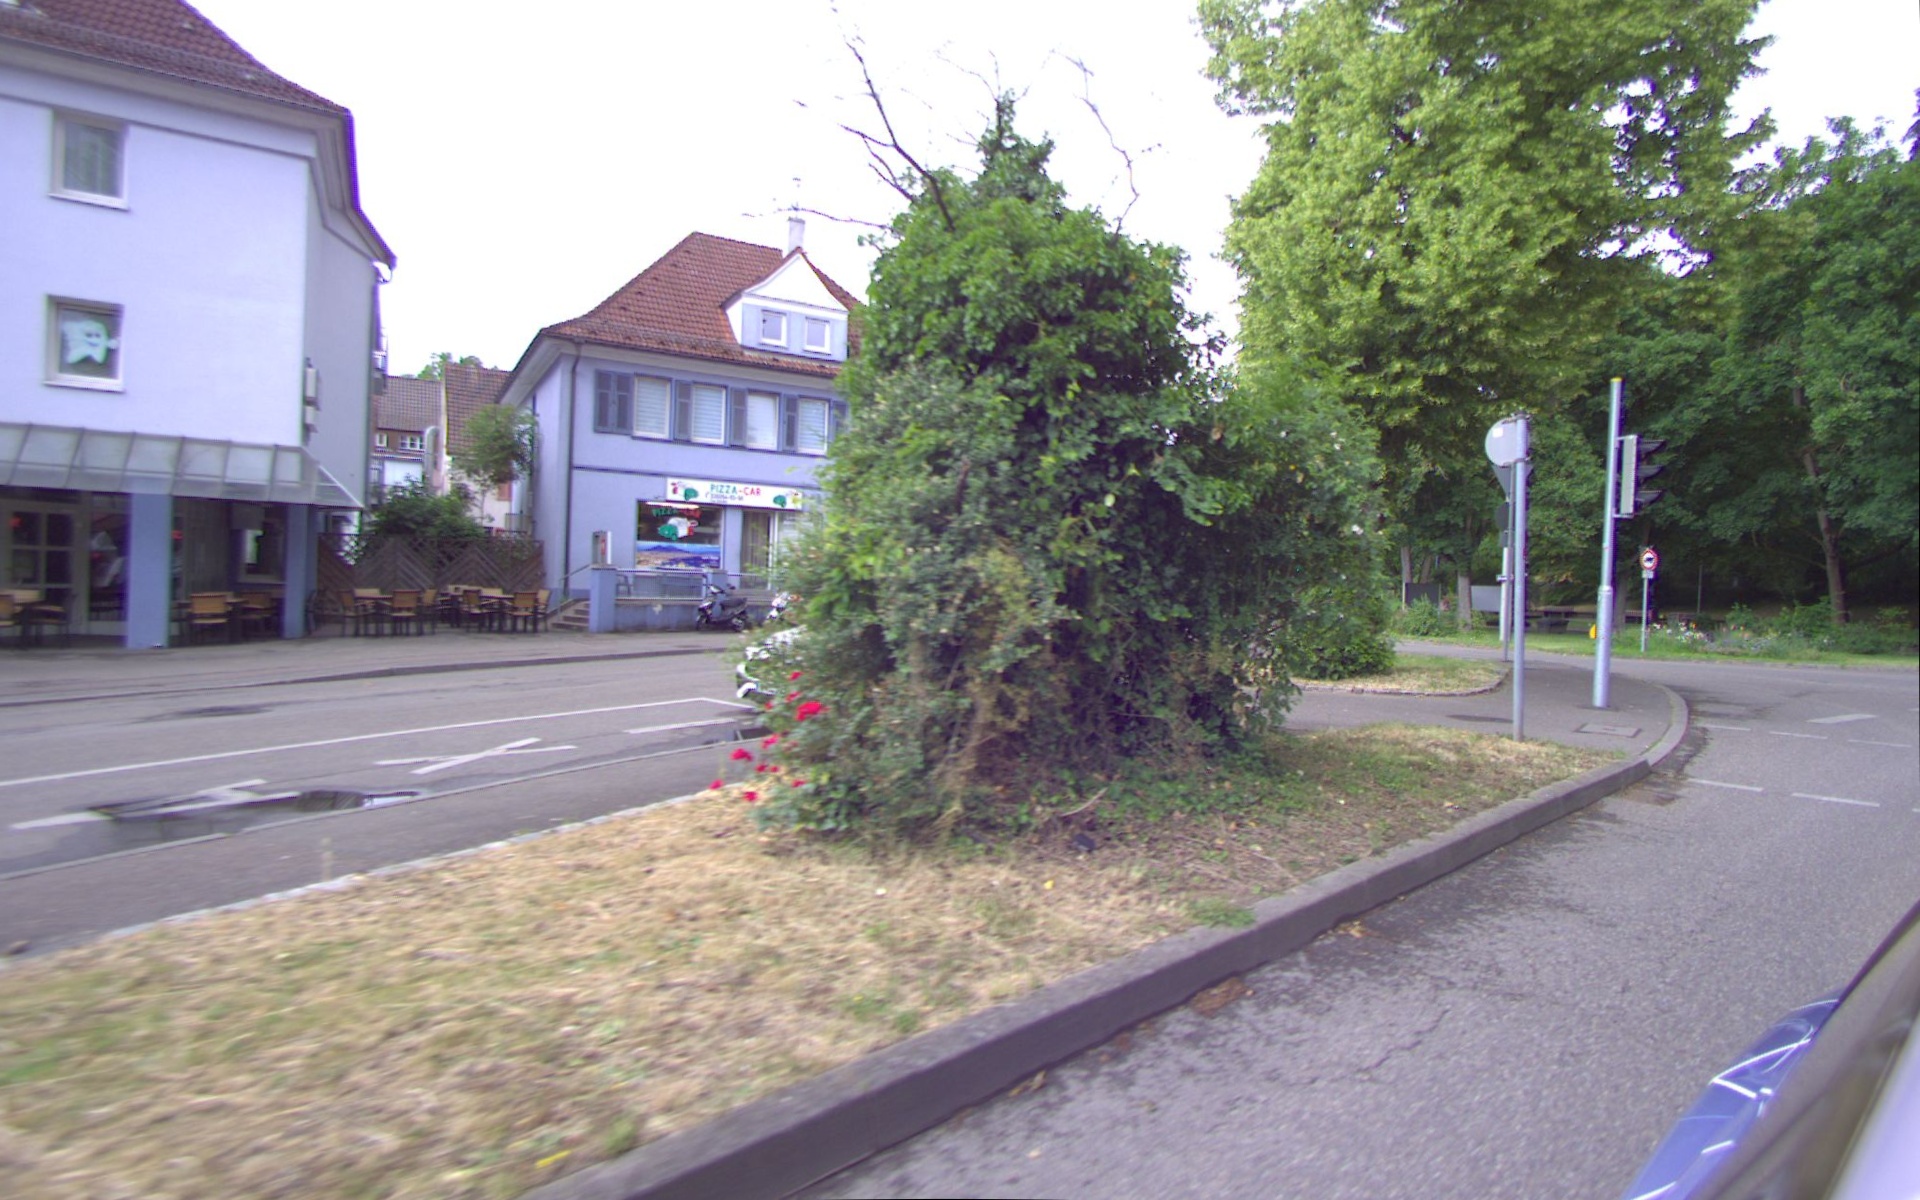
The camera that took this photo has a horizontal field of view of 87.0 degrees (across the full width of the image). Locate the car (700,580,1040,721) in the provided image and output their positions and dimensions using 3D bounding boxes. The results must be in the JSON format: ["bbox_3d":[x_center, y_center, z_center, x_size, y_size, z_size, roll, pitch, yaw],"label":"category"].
[{"bbox_3d":[-0.908,0.484,13.074,1.984,1.403,4.736,3,2,31],"label":"car"}]

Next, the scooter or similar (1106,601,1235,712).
[{"bbox_3d":[2.332,0.603,11.239,1.347,1.181,0.409,0,0,23],"label":"scooter or similar"}]

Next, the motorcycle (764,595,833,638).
[{"bbox_3d":[-3.976,0.386,25.003,0.519,0.998,1.797,2,1,39],"label":"motorcycle"}]

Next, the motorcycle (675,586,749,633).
[{"bbox_3d":[-5.746,0.207,23.531,0.487,1.044,1.701,3,2,39],"label":"motorcycle"}]
